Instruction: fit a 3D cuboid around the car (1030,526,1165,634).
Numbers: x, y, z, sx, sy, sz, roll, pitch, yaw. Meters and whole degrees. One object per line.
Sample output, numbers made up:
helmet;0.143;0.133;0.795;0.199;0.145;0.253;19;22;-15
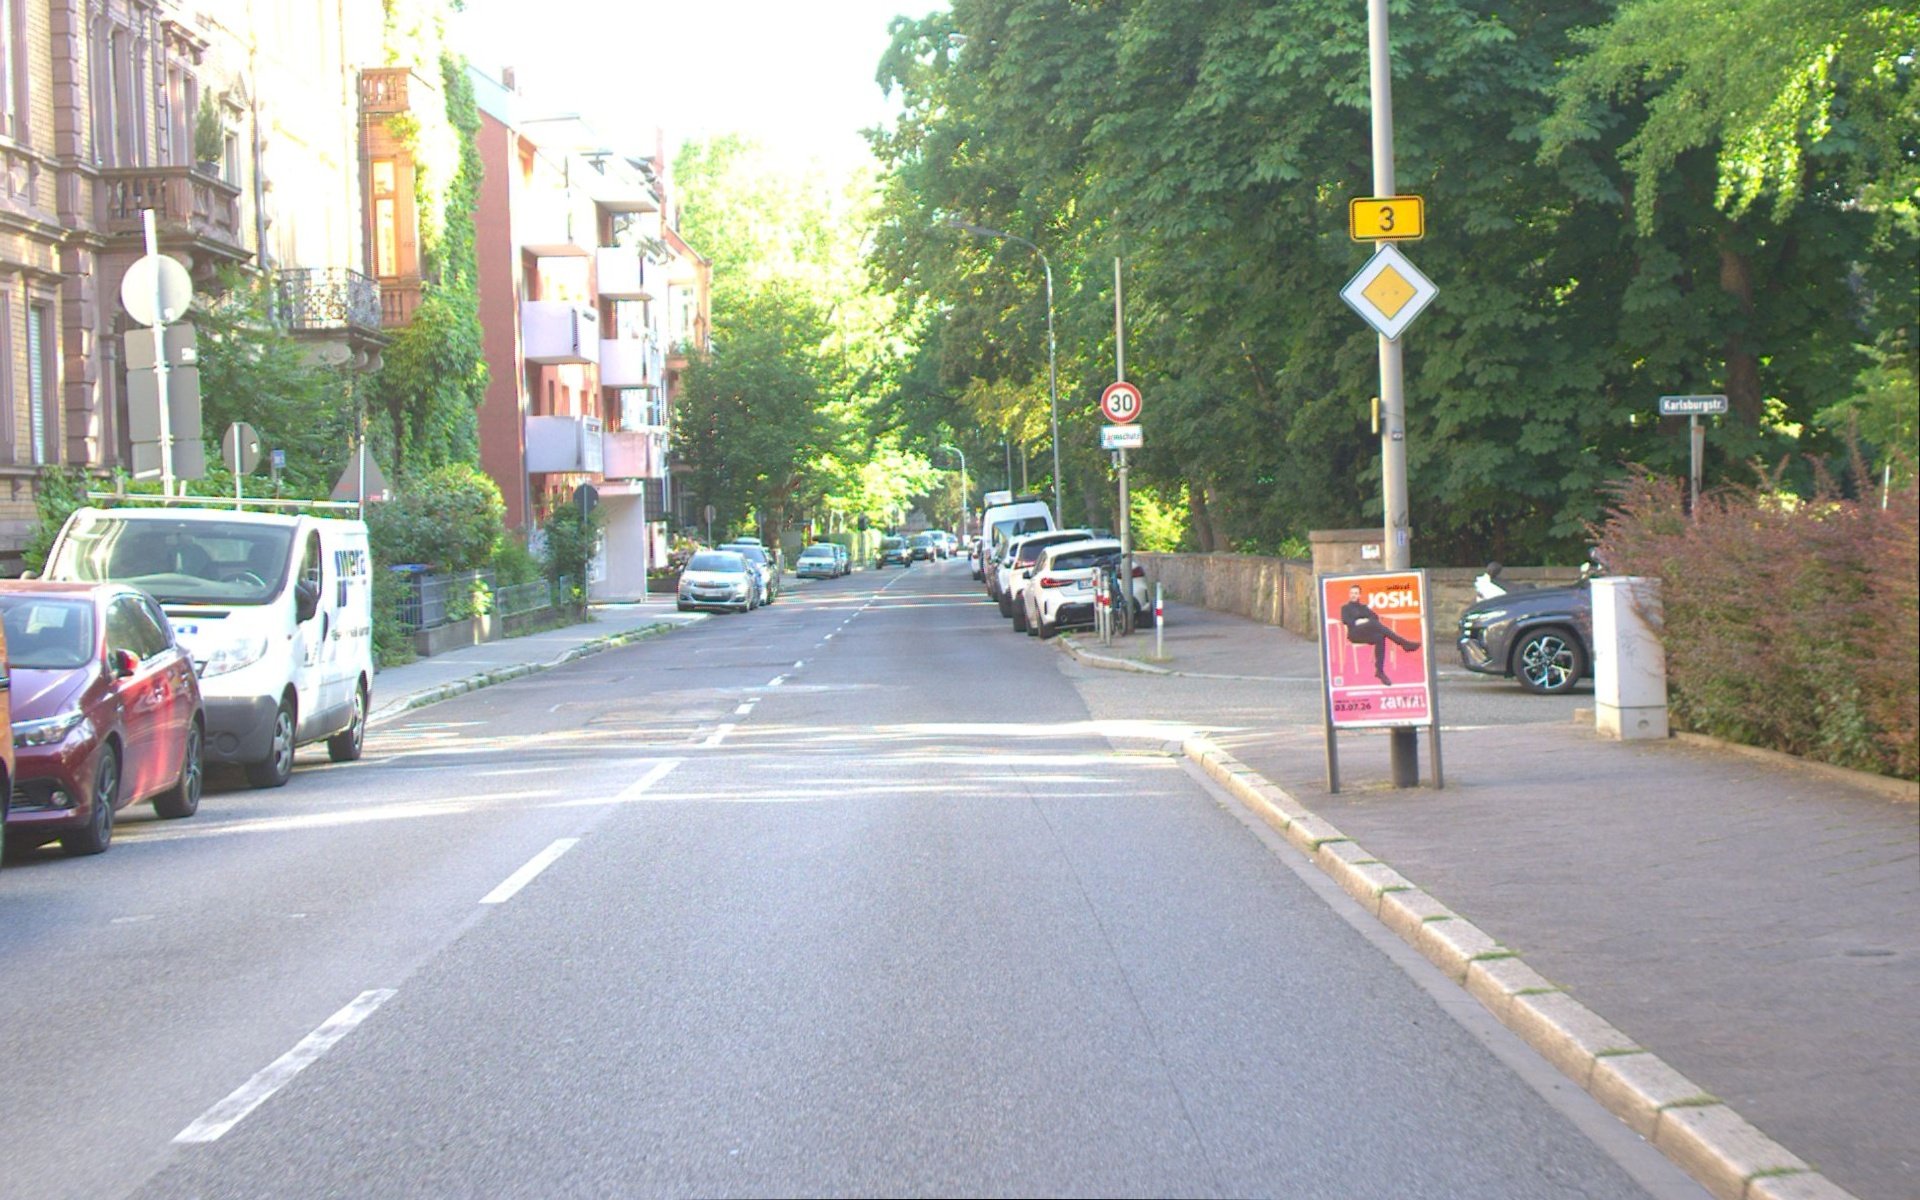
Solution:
car;2.141;-0.342;54.465;1.993;1.512;4.000;-2;2;1

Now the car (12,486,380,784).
car;-5.548;0.182;25.539;1.793;2.003;4.698;0;1;-1

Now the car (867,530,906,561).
car;-3.975;-2.945;185.705;1.993;1.486;4.471;-2;2;0

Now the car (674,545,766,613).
car;-5.999;-0.548;86.417;1.993;1.486;4.471;-2;2;0

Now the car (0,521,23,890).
car;-5.322;0.533;14.619;1.702;1.732;3.857;0;1;-1

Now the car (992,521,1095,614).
car;1.710;-0.691;70.954;1.993;1.731;4.000;-2;2;1

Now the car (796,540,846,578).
car;-6.191;-1.842;153.493;1.993;1.486;4.471;-2;2;0

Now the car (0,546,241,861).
car;-5.413;0.512;19.973;1.702;1.614;4.118;0;1;-1

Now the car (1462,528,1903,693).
car;7.559;0.082;36.386;4.438;1.647;2.000;0;2;8

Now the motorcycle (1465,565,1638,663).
motorcycle;6.906;0.160;40.179;1.906;1.108;0.790;0;2;2

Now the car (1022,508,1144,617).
car;2.121;-0.688;60.052;1.993;1.731;4.000;-2;2;1

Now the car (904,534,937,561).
car;-2.472;-3.307;215.958;1.993;1.486;4.471;-2;2;0

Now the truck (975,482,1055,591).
truck;1.508;-1.810;95.751;1.993;2.887;4.471;-2;2;-1

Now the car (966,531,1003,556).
car;1.559;-3.594;218.168;1.993;1.486;4.471;-2;2;-3
